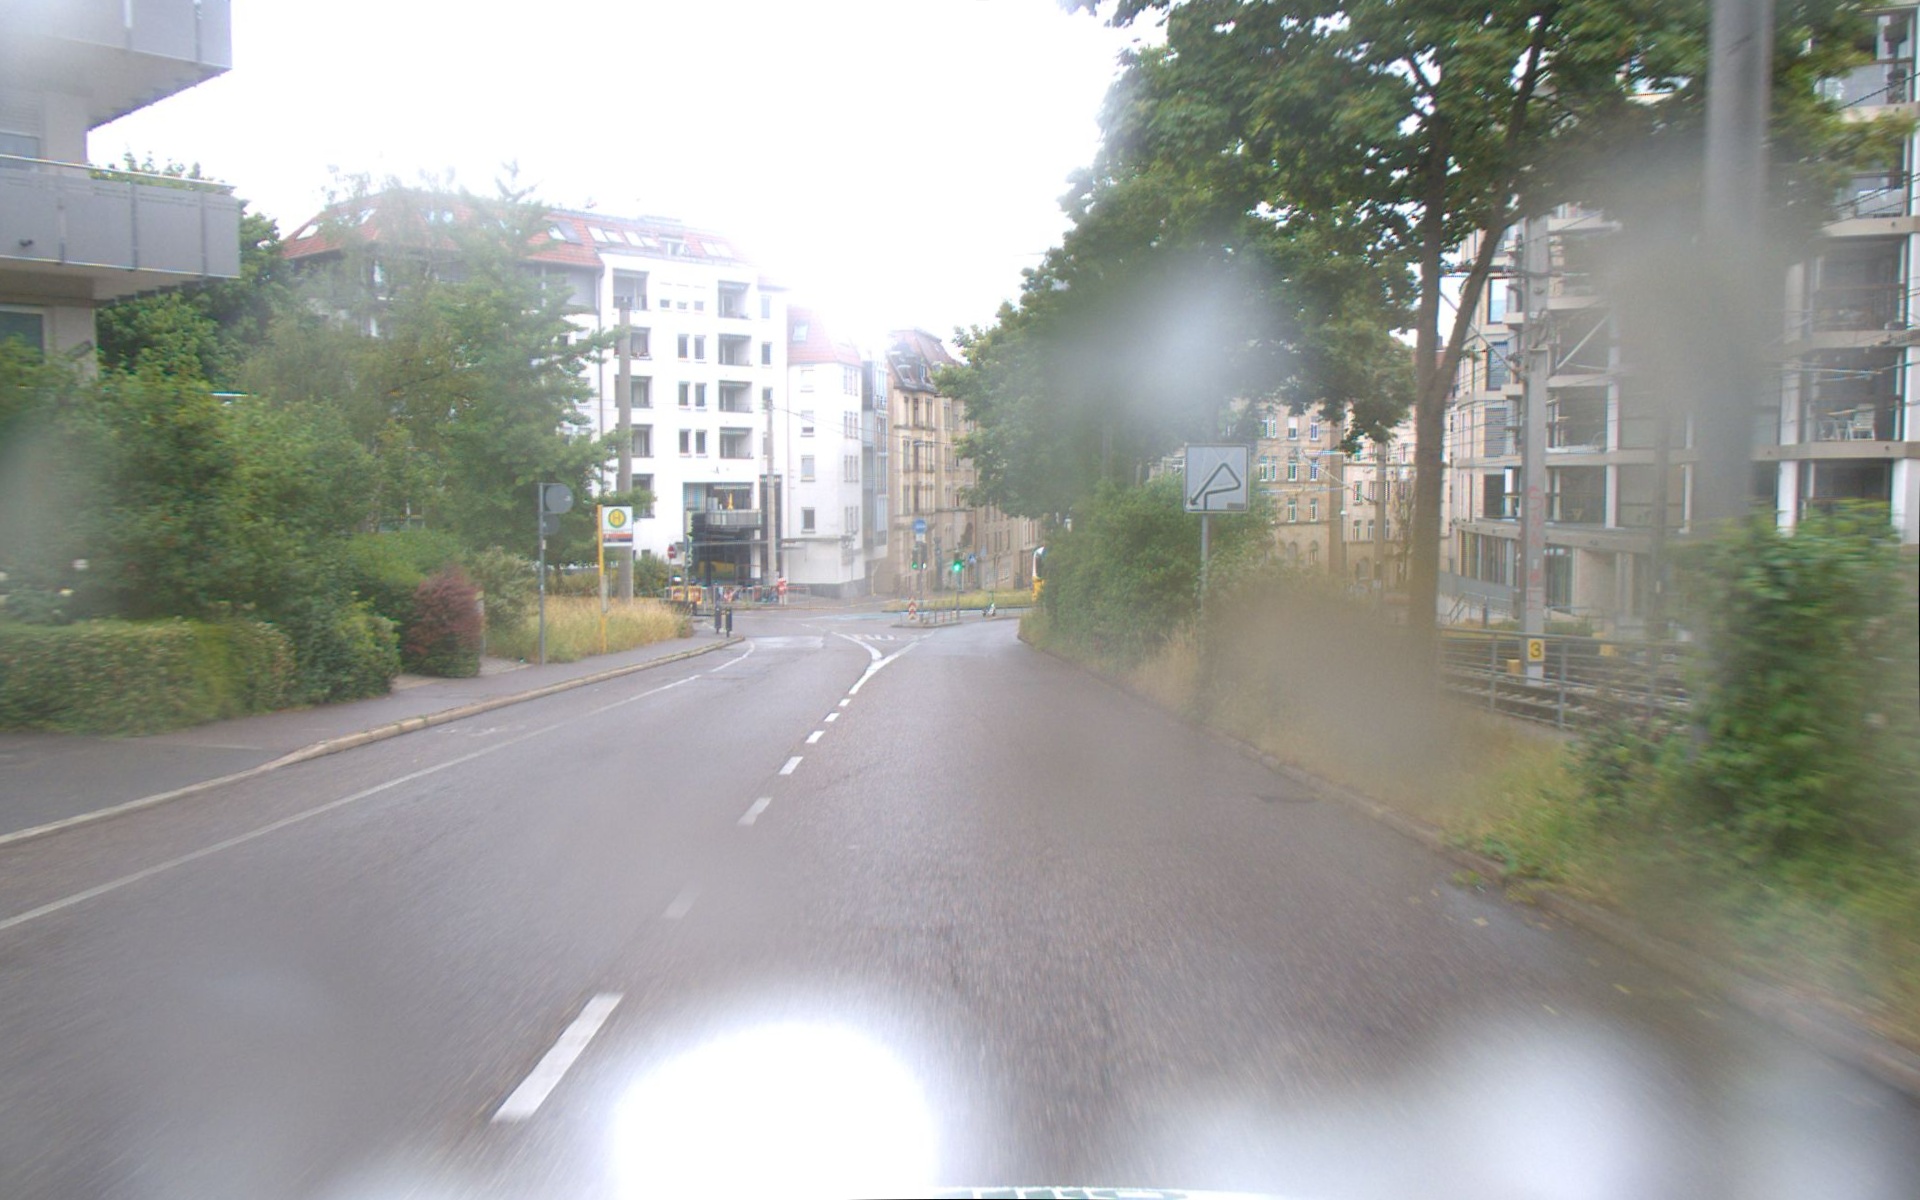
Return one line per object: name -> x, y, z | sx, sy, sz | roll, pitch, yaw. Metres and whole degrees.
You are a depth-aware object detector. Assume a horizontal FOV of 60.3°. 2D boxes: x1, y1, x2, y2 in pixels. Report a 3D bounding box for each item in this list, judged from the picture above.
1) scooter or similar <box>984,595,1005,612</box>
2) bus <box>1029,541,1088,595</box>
scooter or similar -> 1.606, 0.158, 77.003 | 0.475, 0.774, 1.328 | 0, 0, 26
bus -> 5.503, -1.776, 91.958 | 1.954, 2.921, 3.998 | 0, 0, 25
